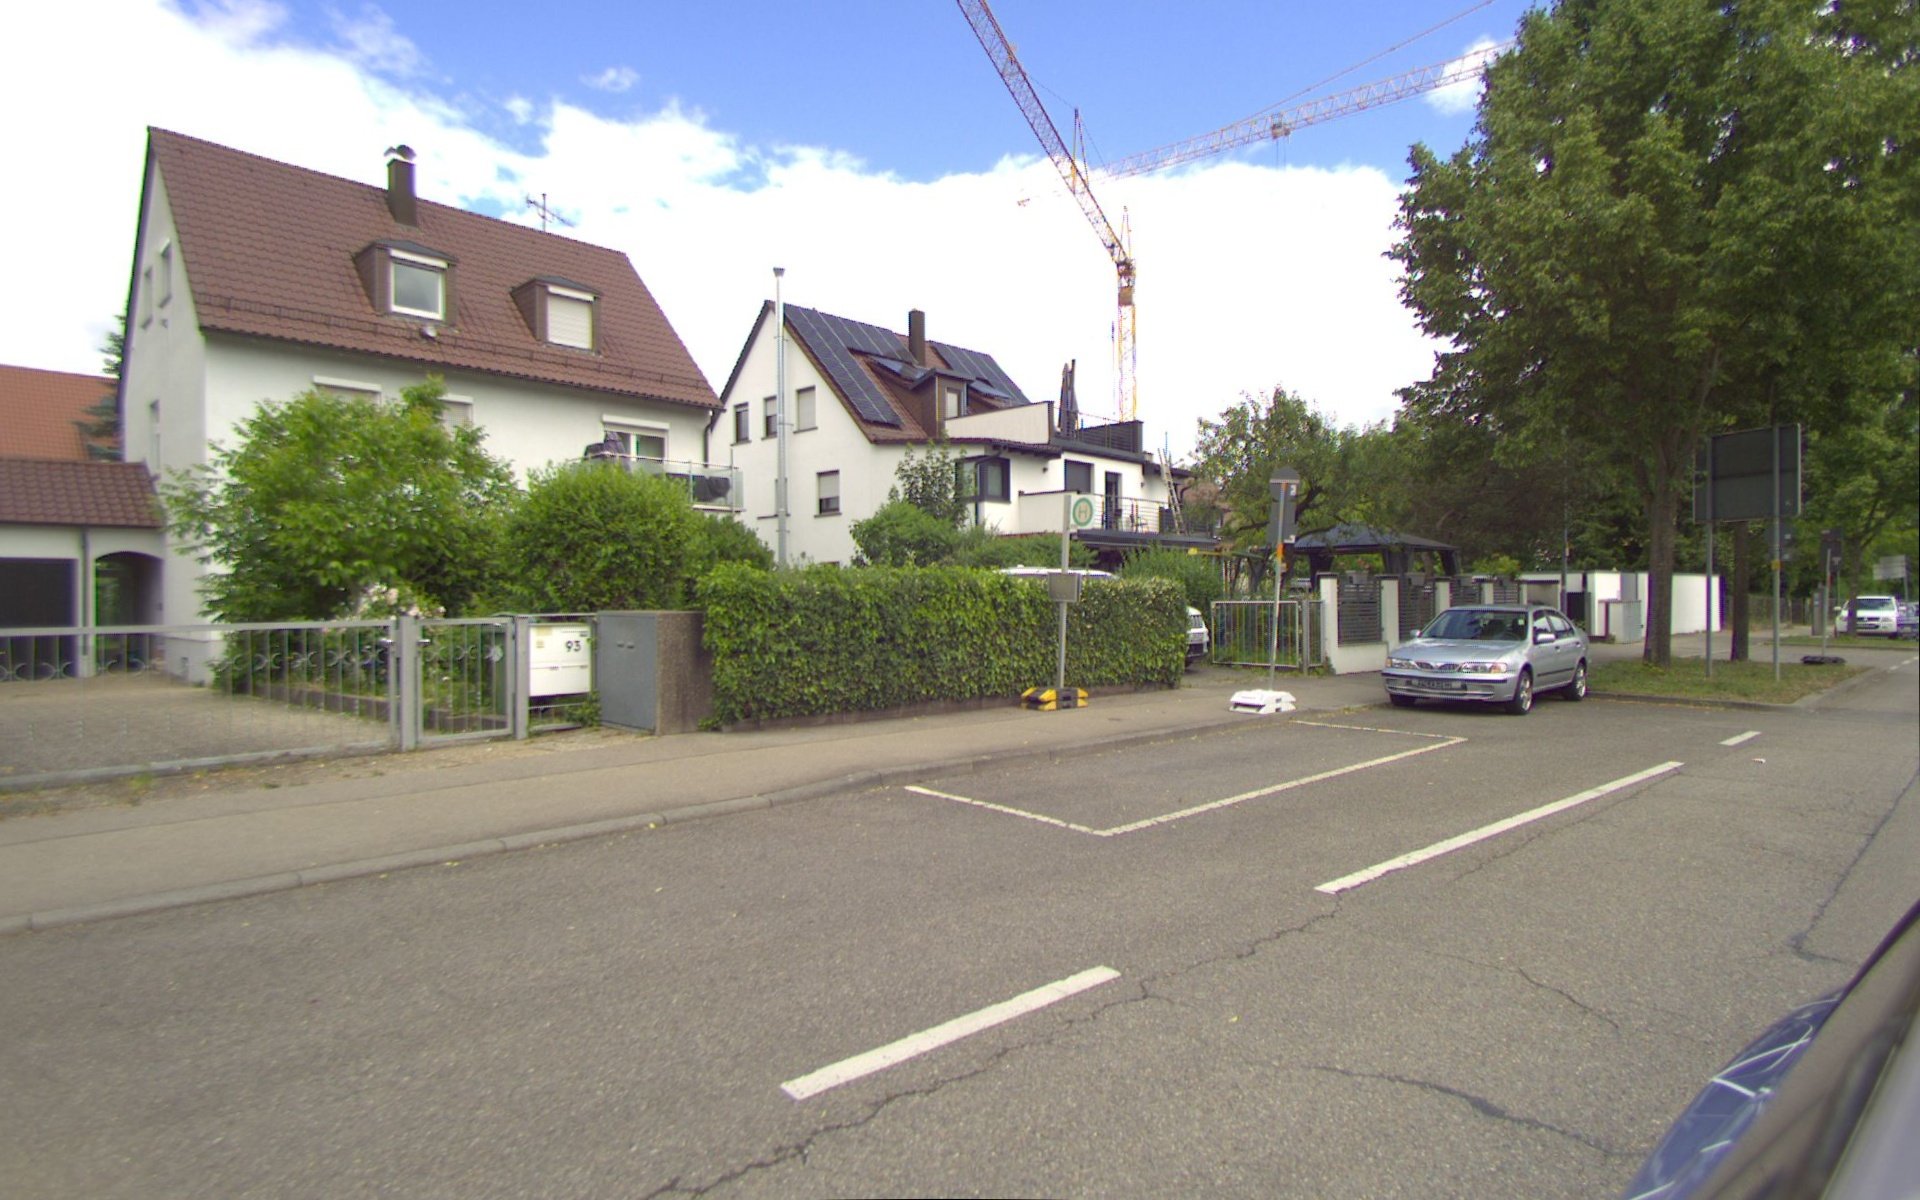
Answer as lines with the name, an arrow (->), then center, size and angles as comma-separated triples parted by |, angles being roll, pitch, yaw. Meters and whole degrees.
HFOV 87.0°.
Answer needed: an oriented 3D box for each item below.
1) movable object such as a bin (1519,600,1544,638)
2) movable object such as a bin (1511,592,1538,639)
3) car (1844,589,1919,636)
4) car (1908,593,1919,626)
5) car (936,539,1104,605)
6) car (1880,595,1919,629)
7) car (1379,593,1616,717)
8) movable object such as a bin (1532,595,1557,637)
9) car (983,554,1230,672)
movable object such as a bin -> 14.212, 0.457, 25.160 | 0.389, 0.932, 0.437 | 0, 0, -41
movable object such as a bin -> 13.832, 0.367, 24.800 | 0.447, 1.123, 0.437 | 0, 0, -41
car -> 34.998, 0.419, 38.311 | 4.047, 1.663, 1.902 | -1, 1, -43
car -> 49.168, 0.440, 50.793 | 4.606, 1.631, 1.864 | -1, -1, -42
car -> 1.822, -0.820, 31.992 | 5.177, 1.927, 2.019 | 0, 1, 41
car -> 41.646, 0.504, 44.021 | 4.521, 1.435, 1.867 | 0, 0, -40
car -> 7.665, 0.647, 14.244 | 4.313, 1.394, 1.614 | -2, 2, -43
movable object such as a bin -> 14.701, 0.394, 25.456 | 0.447, 1.035, 0.437 | 0, 0, -41
car -> 2.508, 0.185, 17.954 | 1.967, 1.846, 3.989 | 0, 0, -44
